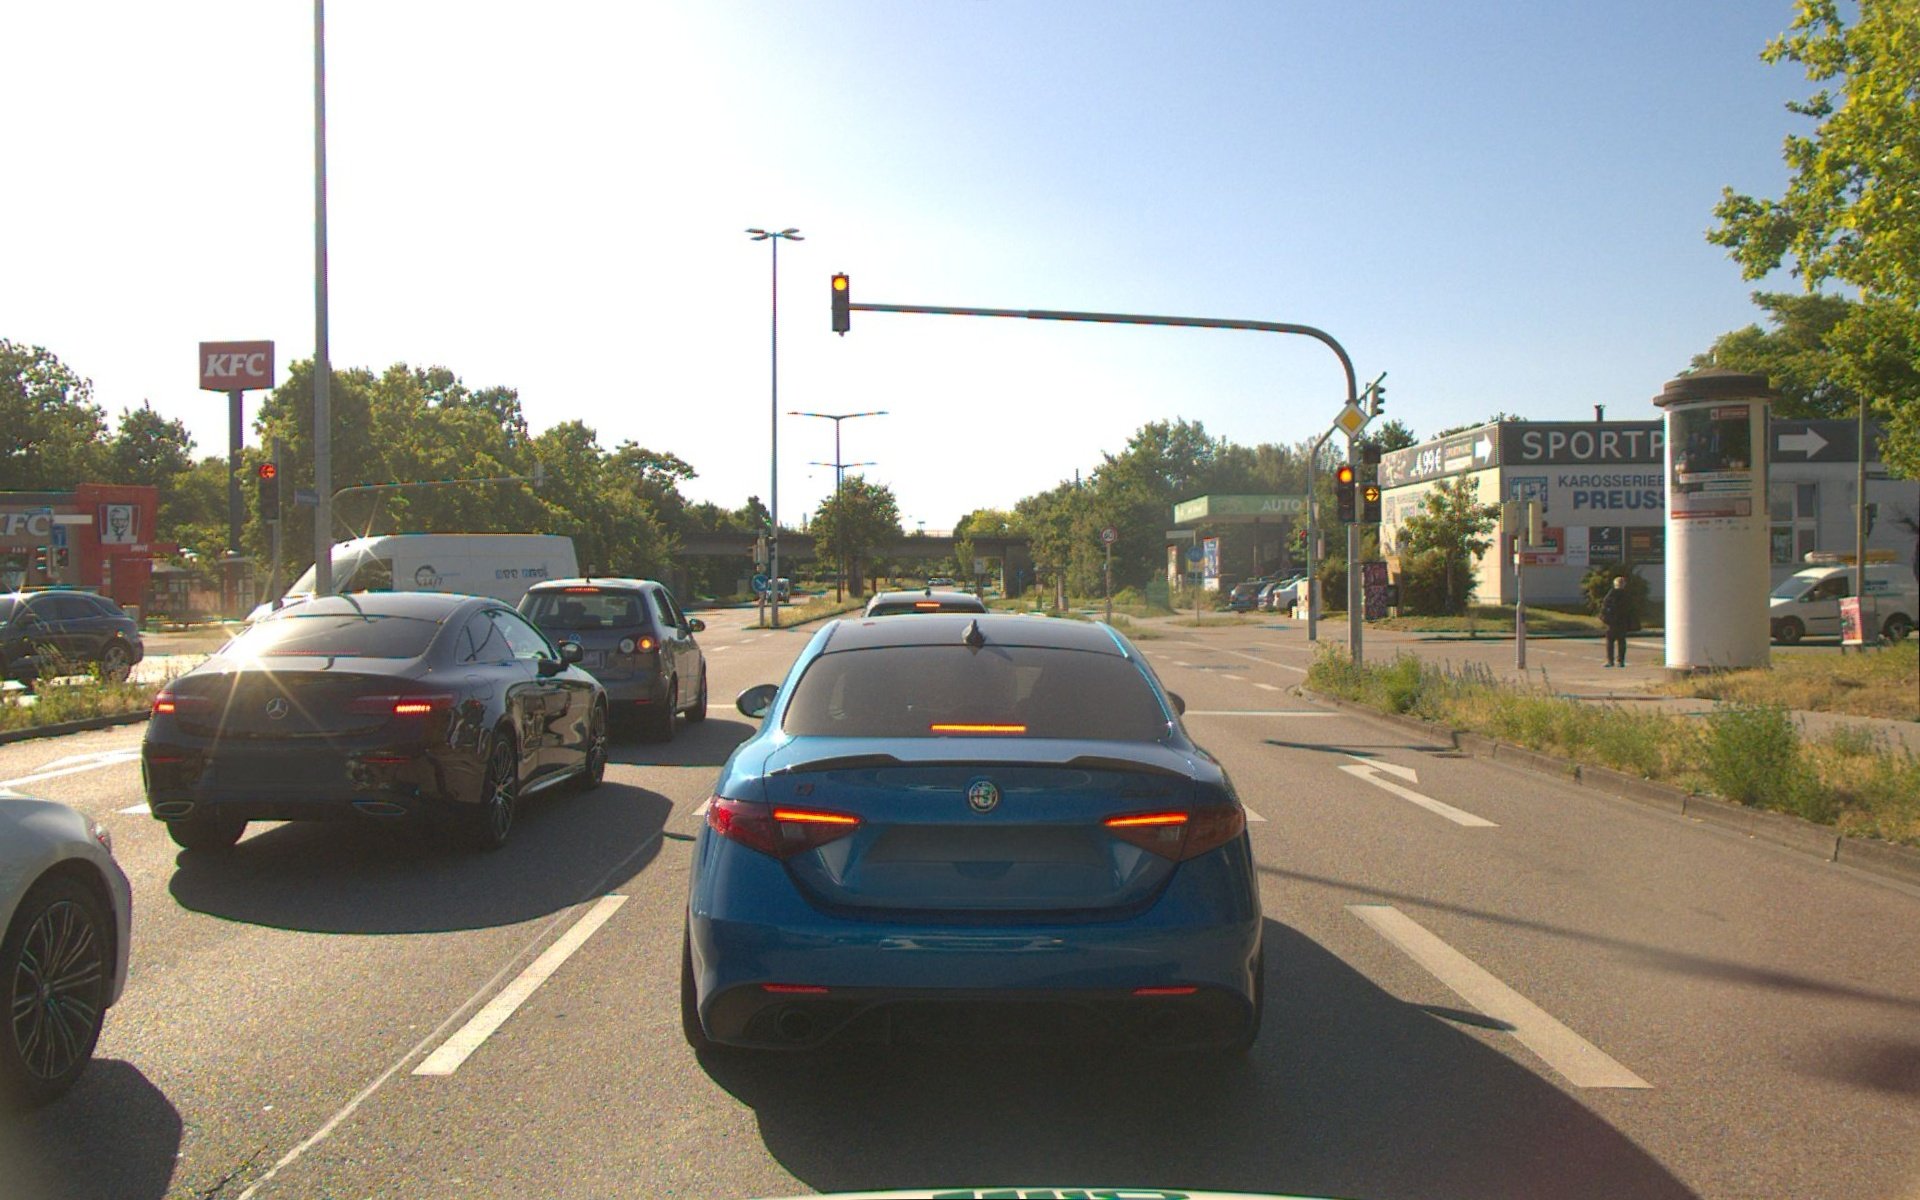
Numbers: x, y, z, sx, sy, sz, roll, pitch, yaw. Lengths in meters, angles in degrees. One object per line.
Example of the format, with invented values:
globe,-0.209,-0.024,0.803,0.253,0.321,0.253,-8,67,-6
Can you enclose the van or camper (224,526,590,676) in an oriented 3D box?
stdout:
van or camper,-10.589,-0.010,32.291,2.144,2.617,6.720,0,0,39

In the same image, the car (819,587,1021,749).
car,-0.393,0.607,17.063,1.828,1.475,3.931,0,0,-1

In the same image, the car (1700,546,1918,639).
car,20.571,-0.190,40.163,4.318,2.183,1.998,0,0,-4

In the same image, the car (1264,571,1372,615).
car,14.349,-0.279,66.330,3.923,1.736,1.687,0,0,-17

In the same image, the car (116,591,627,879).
car,-3.415,0.668,10.578,1.732,1.439,4.460,0,0,-1

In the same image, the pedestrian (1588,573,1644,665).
pedestrian,12.696,0.355,32.021,0.805,1.752,0.854,0,0,6

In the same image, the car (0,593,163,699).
car,-15.954,0.733,27.873,1.951,1.682,4.617,0,0,17

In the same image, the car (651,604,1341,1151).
car,0.071,0.746,6.367,1.828,1.409,3.931,0,0,-1

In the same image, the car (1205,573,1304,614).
car,12.677,-0.269,71.160,3.928,1.736,1.686,0,0,-20

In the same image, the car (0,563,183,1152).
car,-3.350,0.681,3.105,1.732,1.535,4.460,0,0,-1

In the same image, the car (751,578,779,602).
car,-19.830,-1.017,168.333,2.383,2.469,5.828,0,0,-2

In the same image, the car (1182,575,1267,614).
car,11.882,-0.263,74.339,3.428,1.736,1.688,0,0,-16

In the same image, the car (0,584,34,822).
car,-6.868,0.645,8.274,1.818,1.454,4.405,0,0,3

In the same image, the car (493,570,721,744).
car,-3.587,0.522,17.456,1.615,1.626,3.931,0,0,-1
